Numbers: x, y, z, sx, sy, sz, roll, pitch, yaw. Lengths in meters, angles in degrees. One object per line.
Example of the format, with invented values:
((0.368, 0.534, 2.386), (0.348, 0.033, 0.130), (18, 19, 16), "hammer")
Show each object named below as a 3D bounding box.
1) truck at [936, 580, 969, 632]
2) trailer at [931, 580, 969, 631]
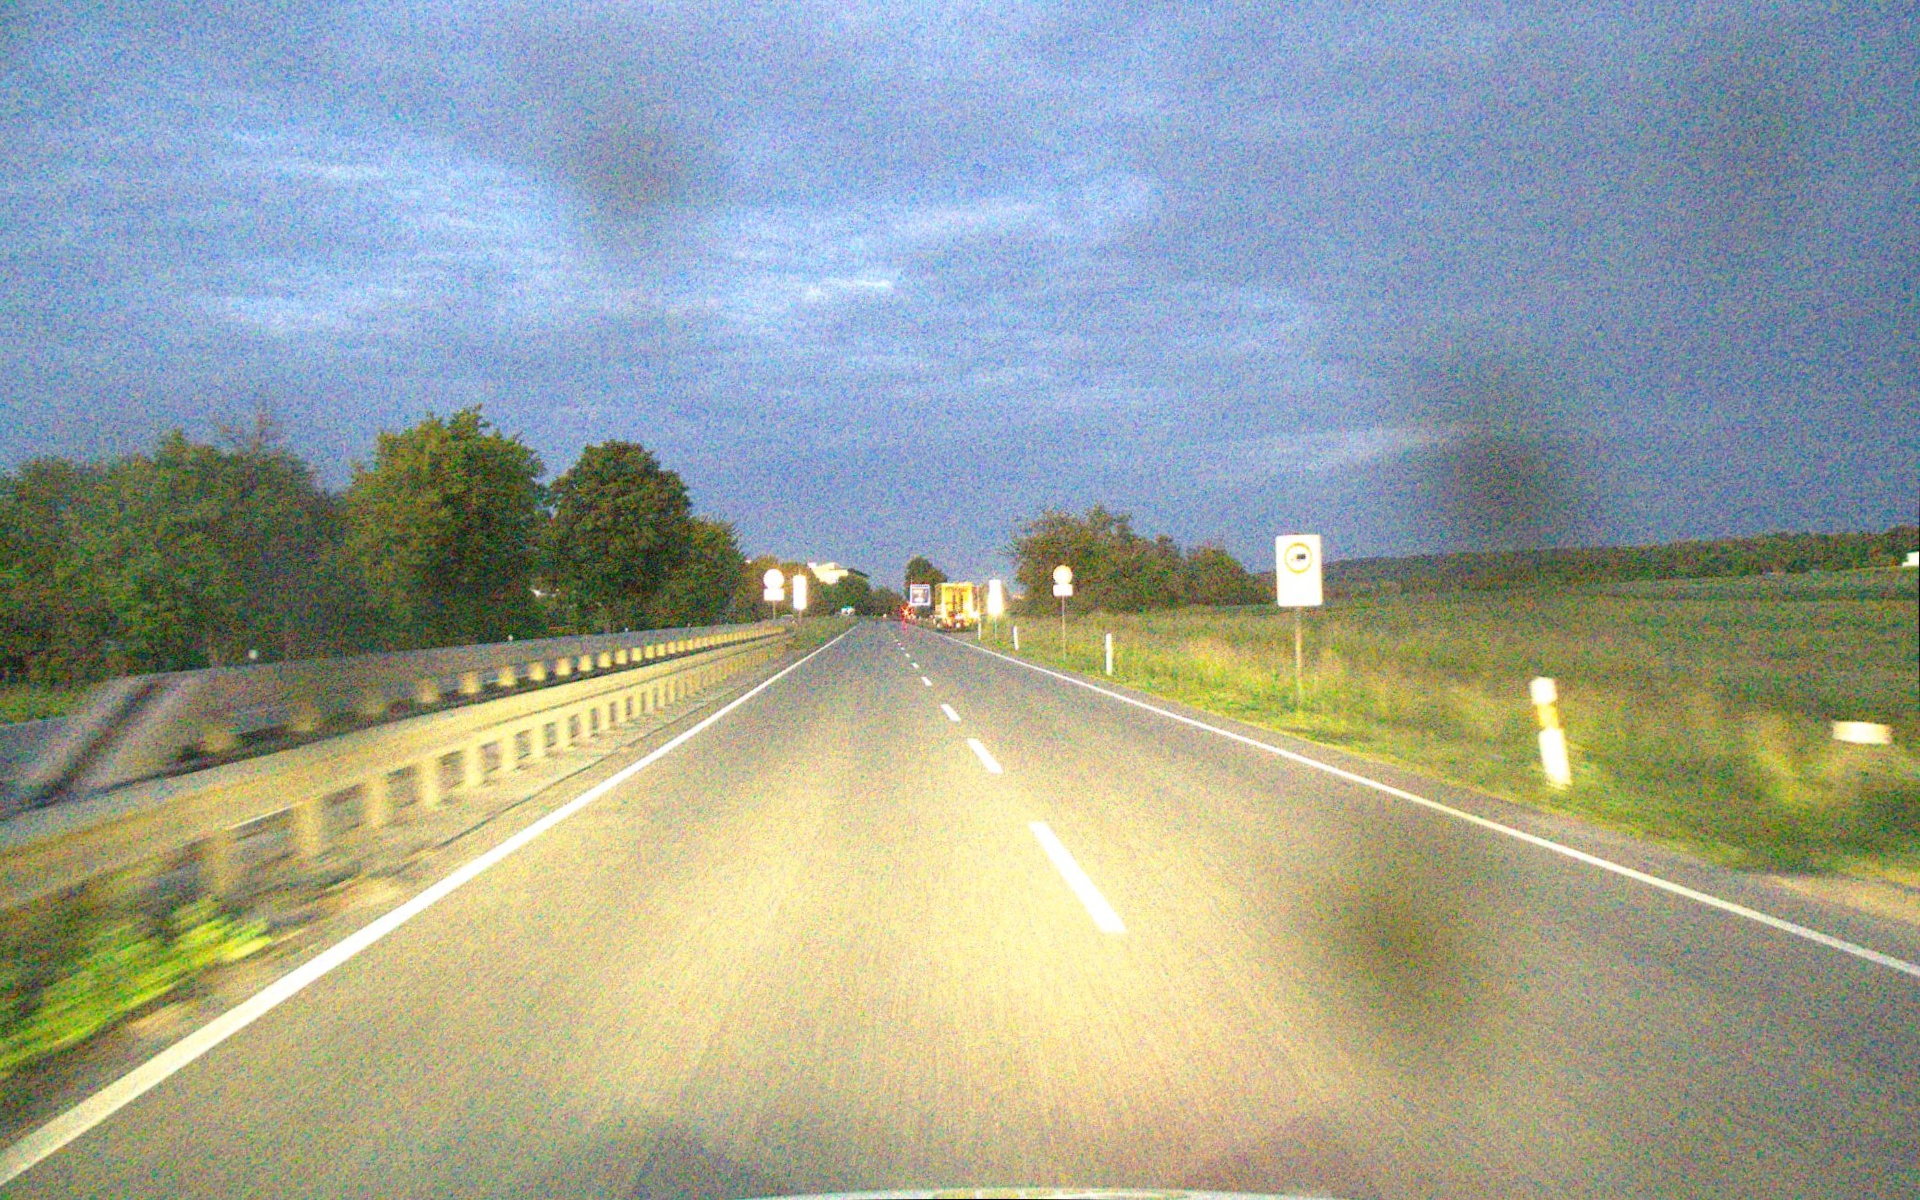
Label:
((-0.626, 0.481, 136.813), (2.527, 4.142, 6.127), (0, 0, -2), "truck")
((-0.929, 0.519, 142.882), (2.570, 4.176, 12.929), (-1, 0, -3), "trailer")
